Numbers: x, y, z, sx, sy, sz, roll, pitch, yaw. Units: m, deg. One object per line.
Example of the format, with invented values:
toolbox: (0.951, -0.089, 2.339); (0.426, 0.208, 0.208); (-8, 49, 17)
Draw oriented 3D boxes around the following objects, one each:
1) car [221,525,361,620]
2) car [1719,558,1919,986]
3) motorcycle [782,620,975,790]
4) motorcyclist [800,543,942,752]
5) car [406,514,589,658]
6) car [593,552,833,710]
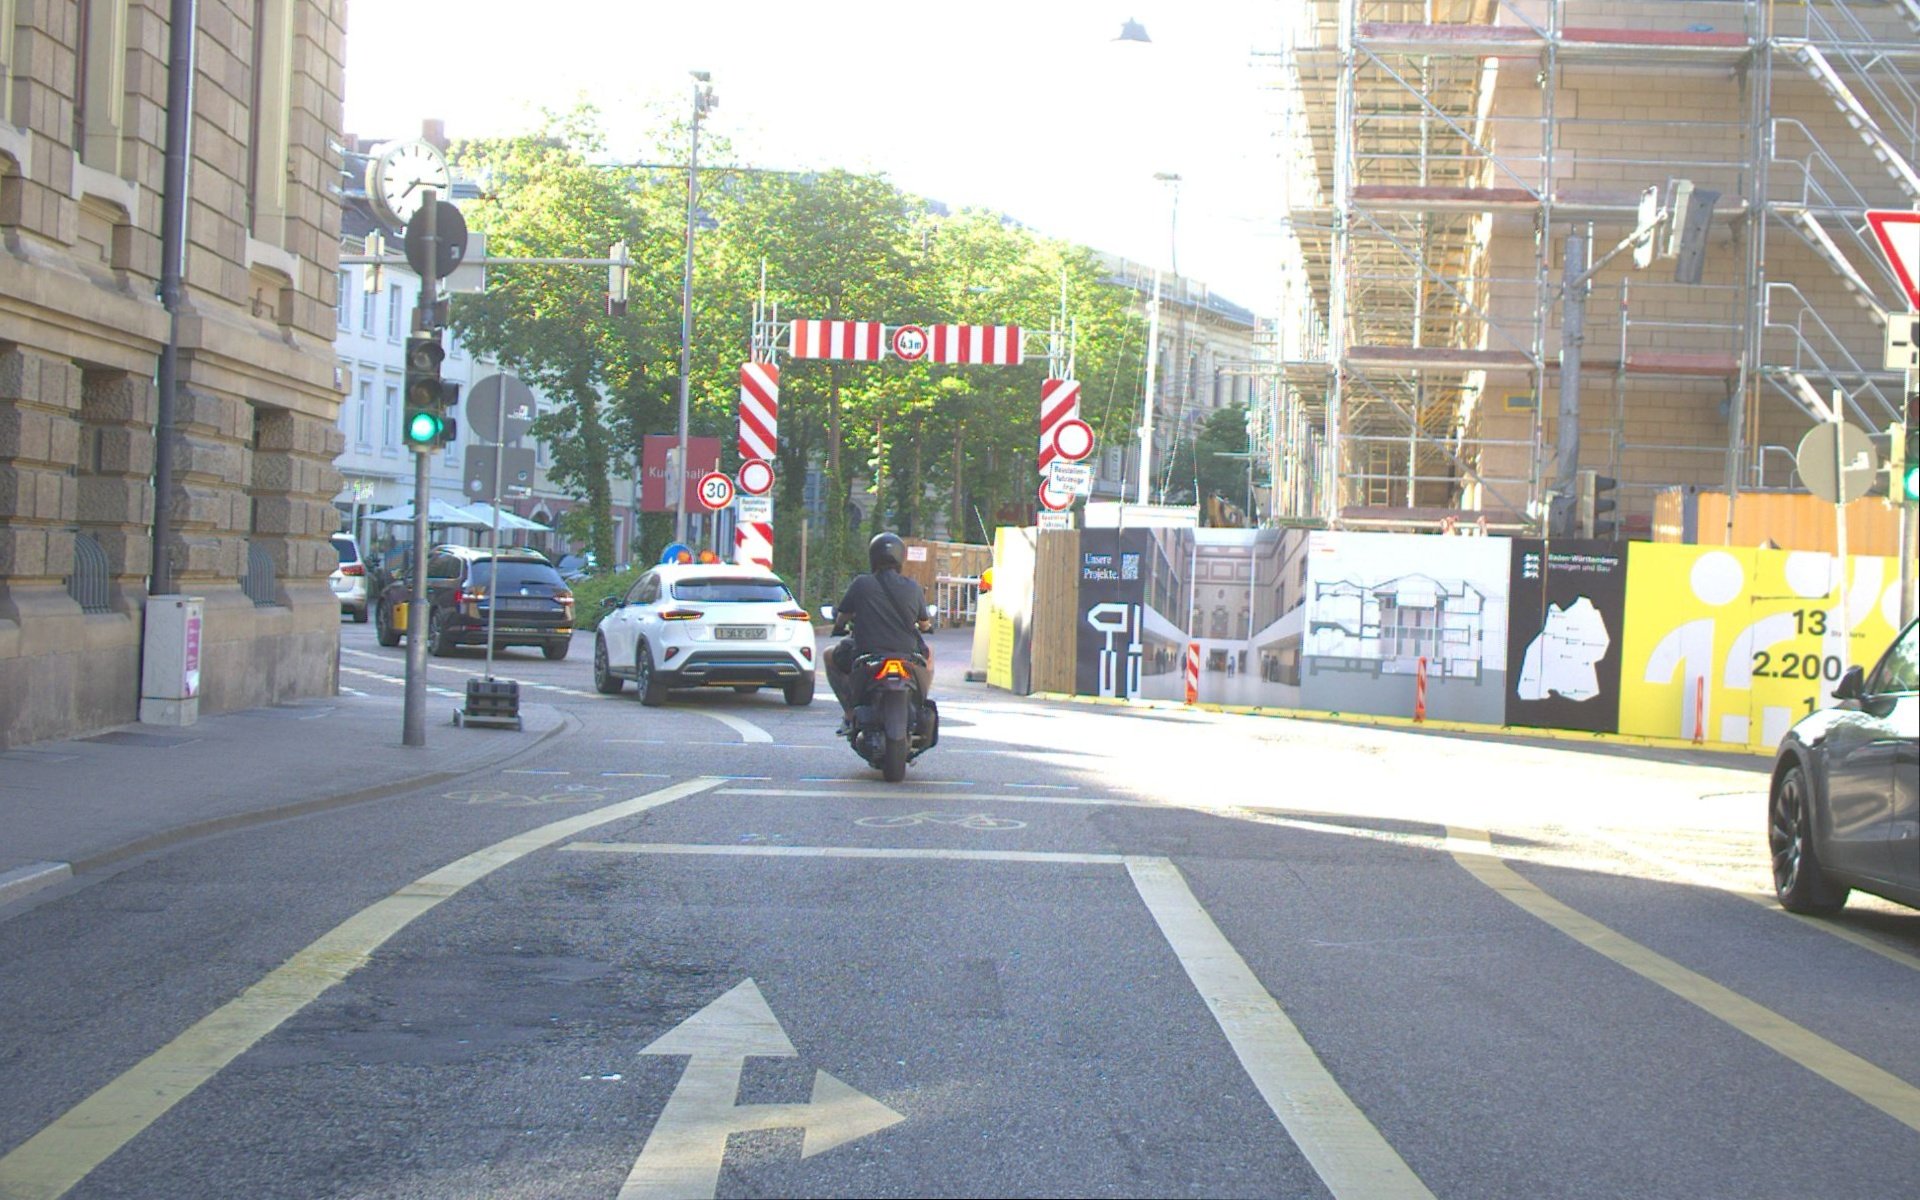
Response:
car: (-12.788, -0.555, 65.540); (1.993, 1.659, 4.360); (-1, 2, -20)
car: (4.816, 0.749, 14.835); (1.824, 1.693, 4.667); (4, 1, -2)
motorcycle: (-0.588, 0.713, 23.899); (0.872, 1.105, 1.840); (2, 0, -16)
motorcyclist: (-0.624, 0.332, 24.057); (0.867, 1.422, 0.456); (2, -1, -15)
car: (-6.380, -0.185, 47.099); (1.830, 1.831, 4.001); (2, 0, -17)
car: (-2.766, 0.294, 37.608); (1.822, 1.536, 4.265); (3, 0, -14)
